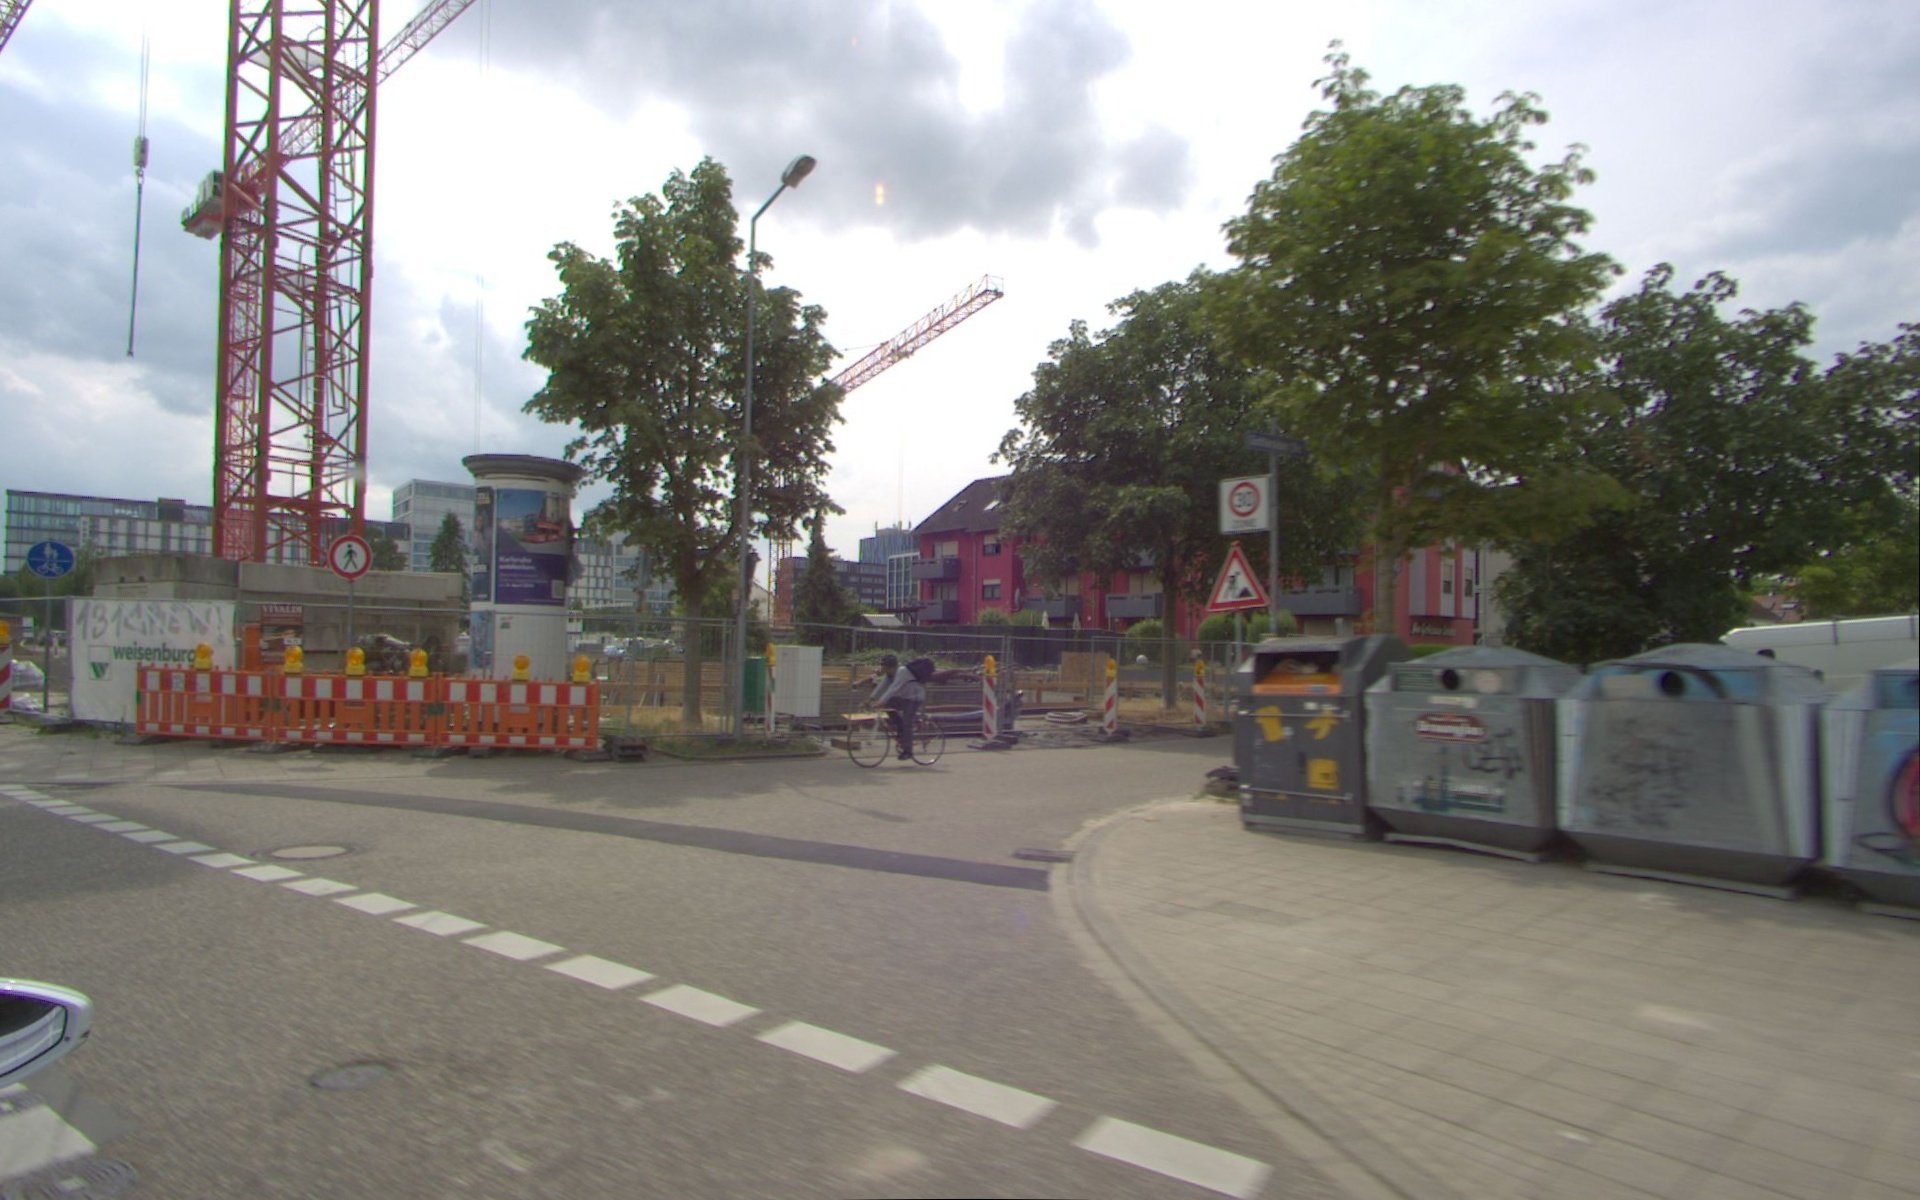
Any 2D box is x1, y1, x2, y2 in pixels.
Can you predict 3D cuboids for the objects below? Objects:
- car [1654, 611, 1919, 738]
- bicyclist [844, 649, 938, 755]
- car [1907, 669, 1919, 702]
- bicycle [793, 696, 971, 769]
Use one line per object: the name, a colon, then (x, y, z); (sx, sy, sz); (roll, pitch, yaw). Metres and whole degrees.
car: (18.226, 1.625, 21.566); (1.881, 2.481, 5.069); (6, -6, -38)
bicyclist: (-1.001, 1.475, 14.513); (1.065, 1.430, 0.712); (6, -3, -27)
car: (50.404, 4.338, 50.309); (1.781, 1.607, 3.890); (6, -6, -38)
bicycle: (-1.108, 1.907, 14.450); (2.443, 0.945, 0.712); (4, -3, -27)
